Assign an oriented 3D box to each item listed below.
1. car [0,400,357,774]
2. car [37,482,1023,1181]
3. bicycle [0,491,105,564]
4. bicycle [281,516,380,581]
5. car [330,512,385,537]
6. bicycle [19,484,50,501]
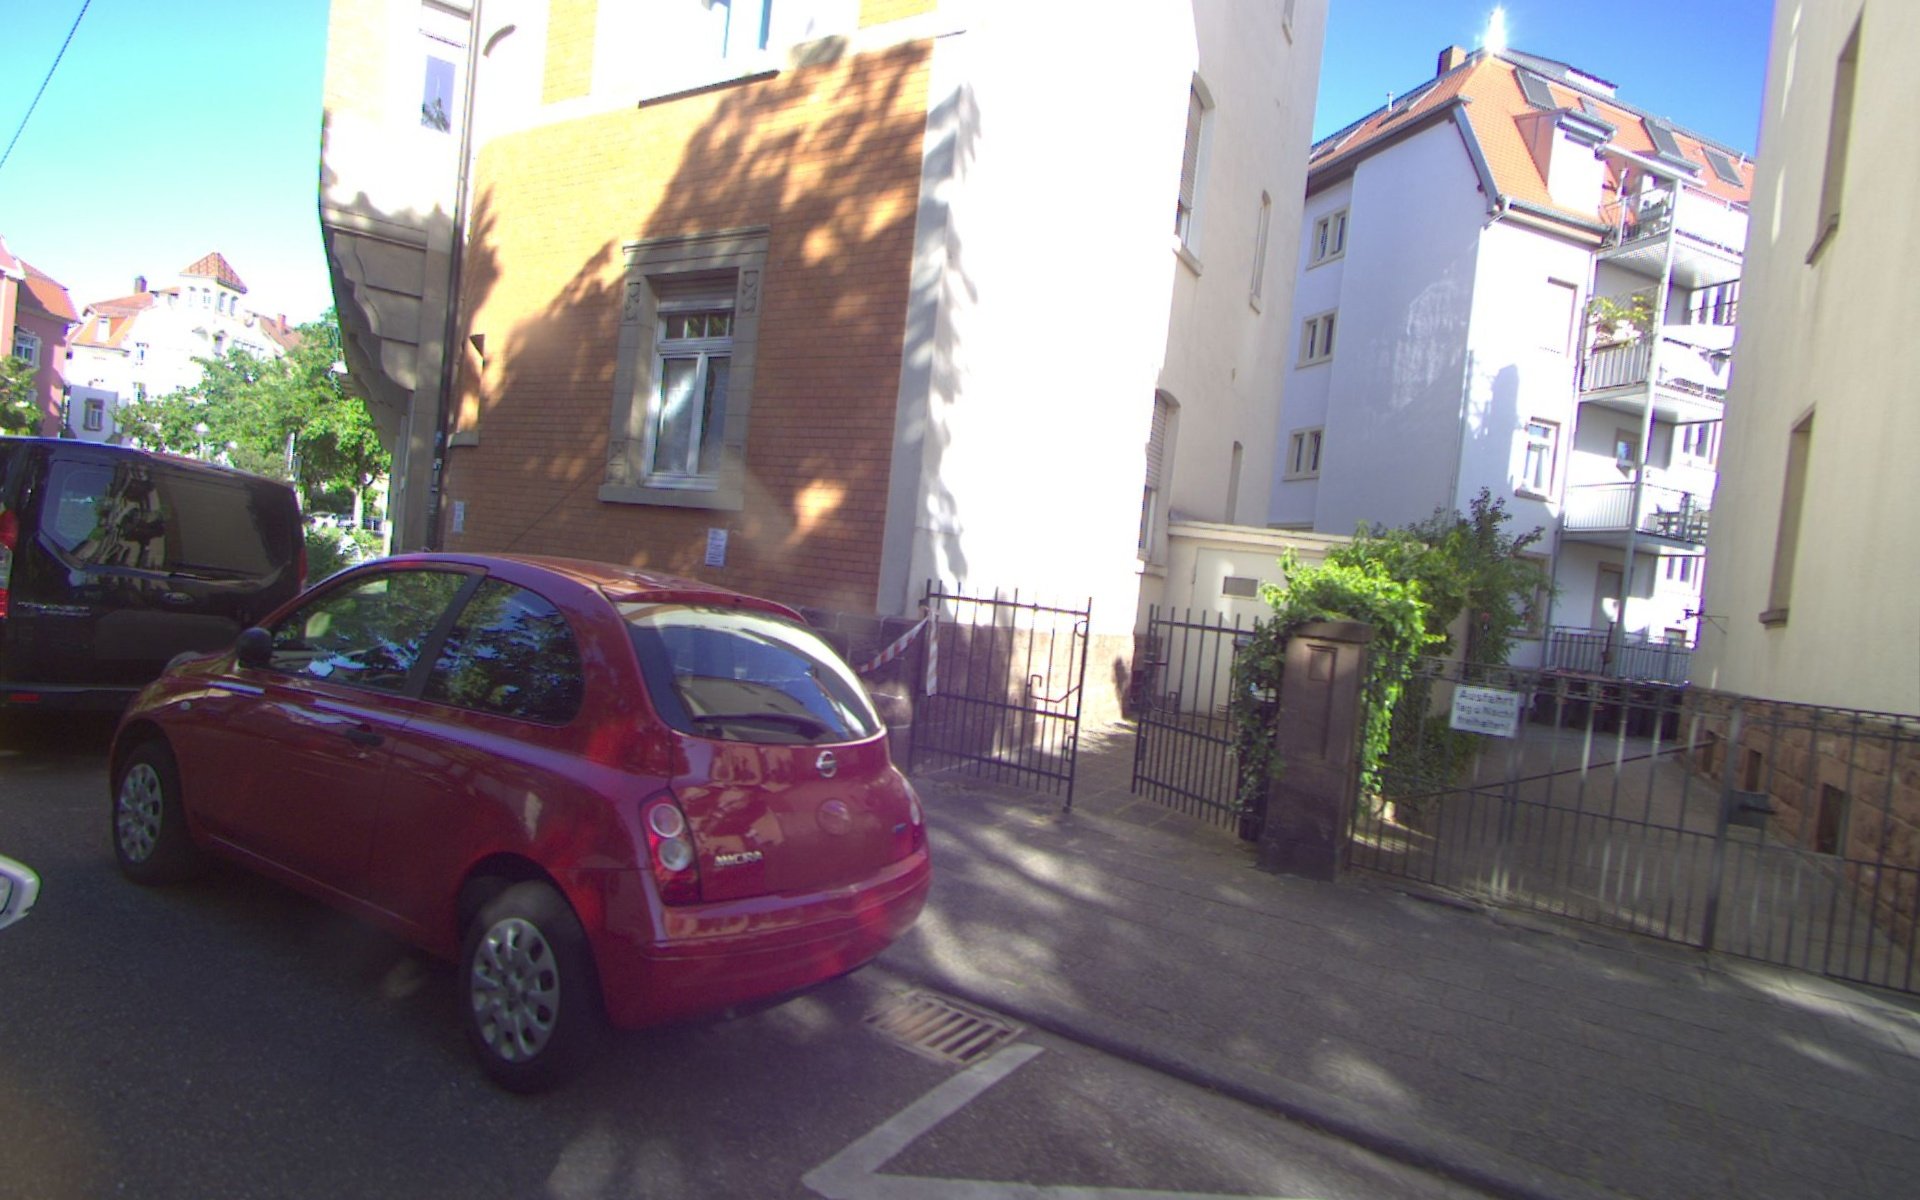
[{"bbox_3d":[-6.292,-0.182,6.846,4.201,1.892,1.806,7,-2,31],"label":"car"},{"bbox_3d":[-1.939,0.532,4.195,3.933,1.555,1.649,7,-2,31],"label":"car"},{"bbox_3d":[-17.490,-1.389,18.802,2.207,1.174,0.384,6,2,-33],"label":"bicycle"},{"bbox_3d":[-12.227,-0.996,19.574,1.547,1.074,0.268,6,2,-33],"label":"bicycle"},{"bbox_3d":[-44.327,-5.531,74.031,1.629,1.455,3.456,7,1,6],"label":"car"},{"bbox_3d":[-56.299,-6.525,61.185,1.990,0.810,0.479,7,2,18],"label":"bicycle"}]
